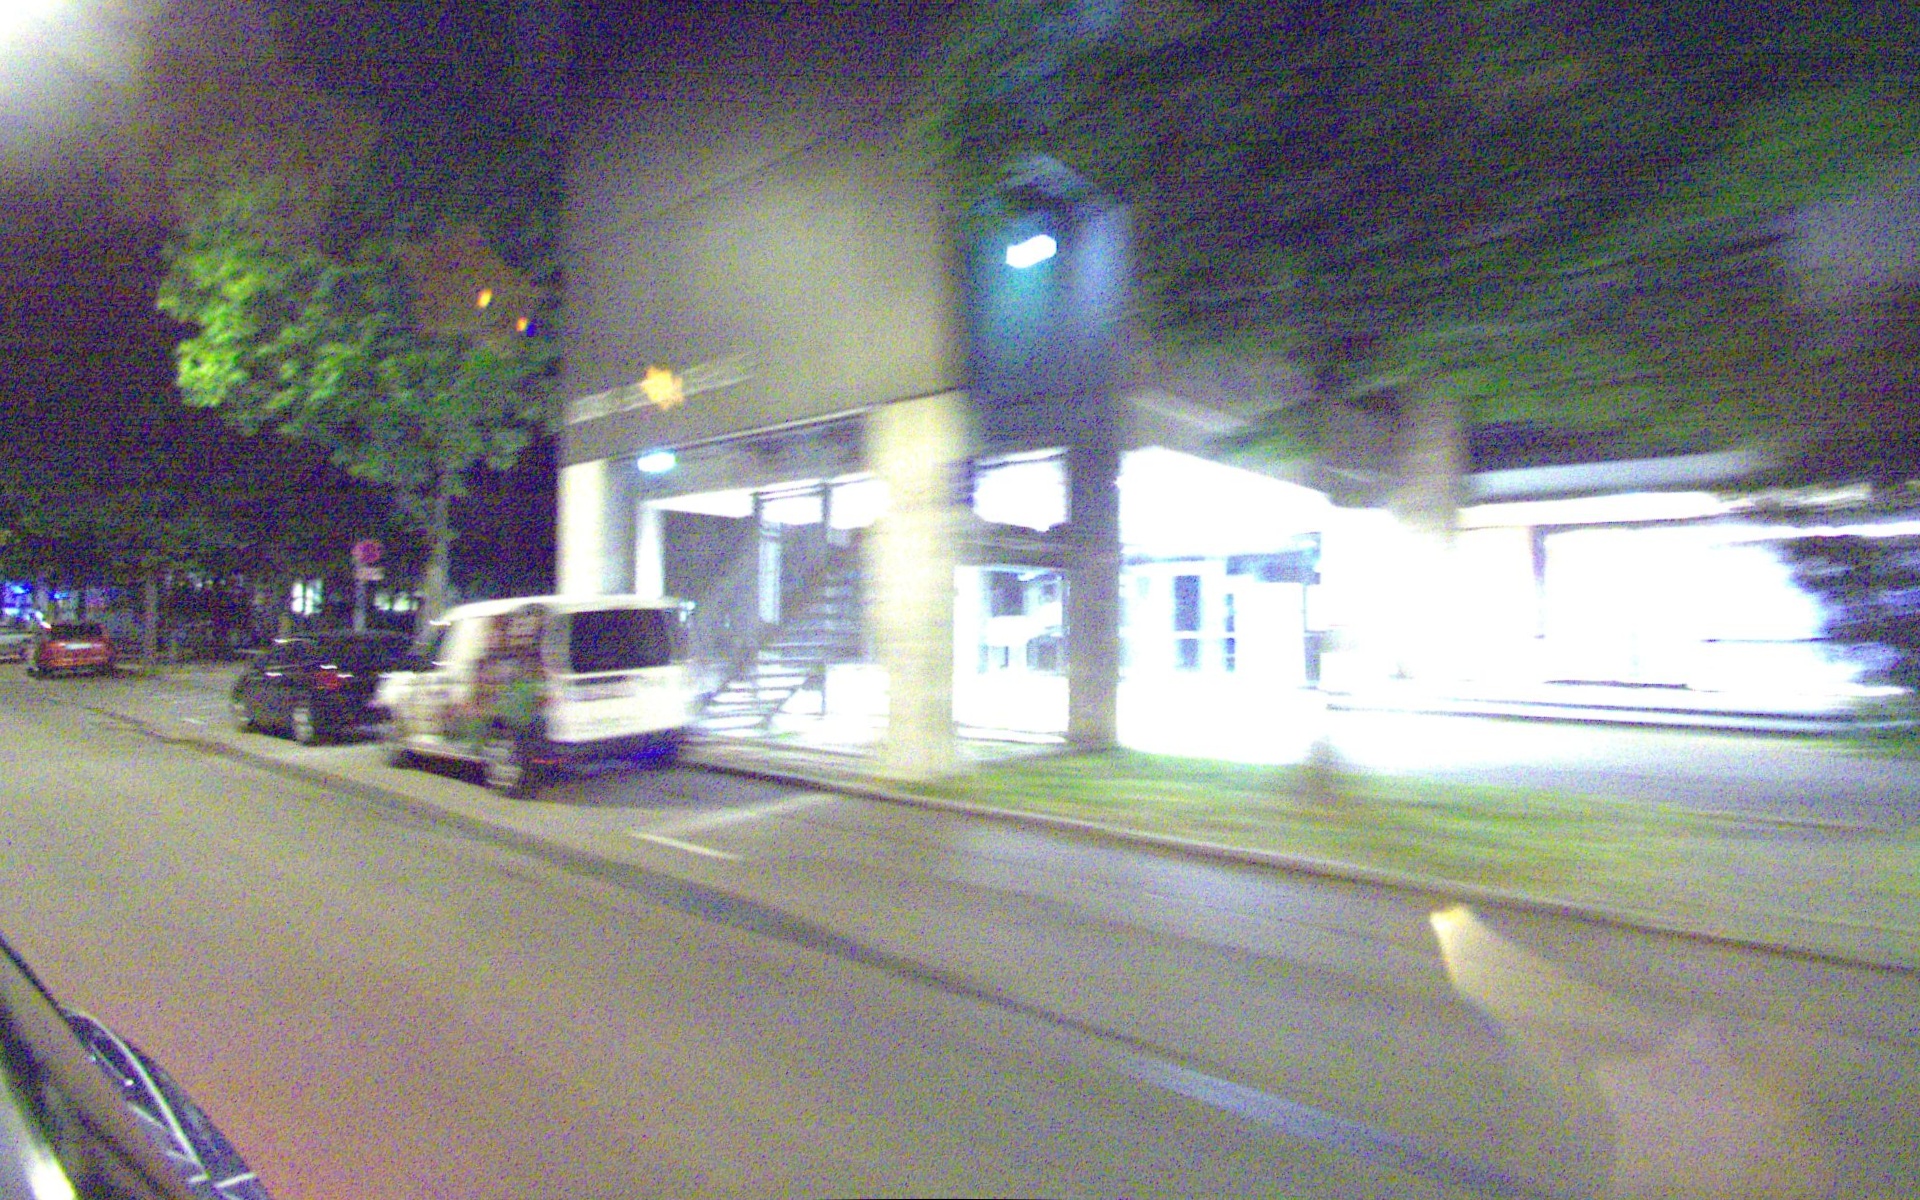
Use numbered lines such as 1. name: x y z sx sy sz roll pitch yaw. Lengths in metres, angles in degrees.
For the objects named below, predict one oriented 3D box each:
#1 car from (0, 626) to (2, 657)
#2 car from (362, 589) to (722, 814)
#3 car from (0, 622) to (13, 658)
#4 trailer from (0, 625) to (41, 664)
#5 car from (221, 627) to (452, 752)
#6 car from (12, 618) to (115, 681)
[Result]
1. car: -46.459 1.975 47.527 4.631 1.422 1.687 -1 0 41
2. car: -4.486 0.883 10.548 4.209 1.825 1.803 -2 1 43
3. car: -42.816 1.750 44.153 4.202 1.513 1.699 -1 1 41
4. trailer: -37.021 1.692 38.831 5.434 1.345 2.088 -1 1 43
5. car: -8.873 1.148 14.281 3.826 1.444 1.683 -2 1 41
6. car: -25.624 1.352 28.888 4.072 1.611 1.803 -1 0 43
